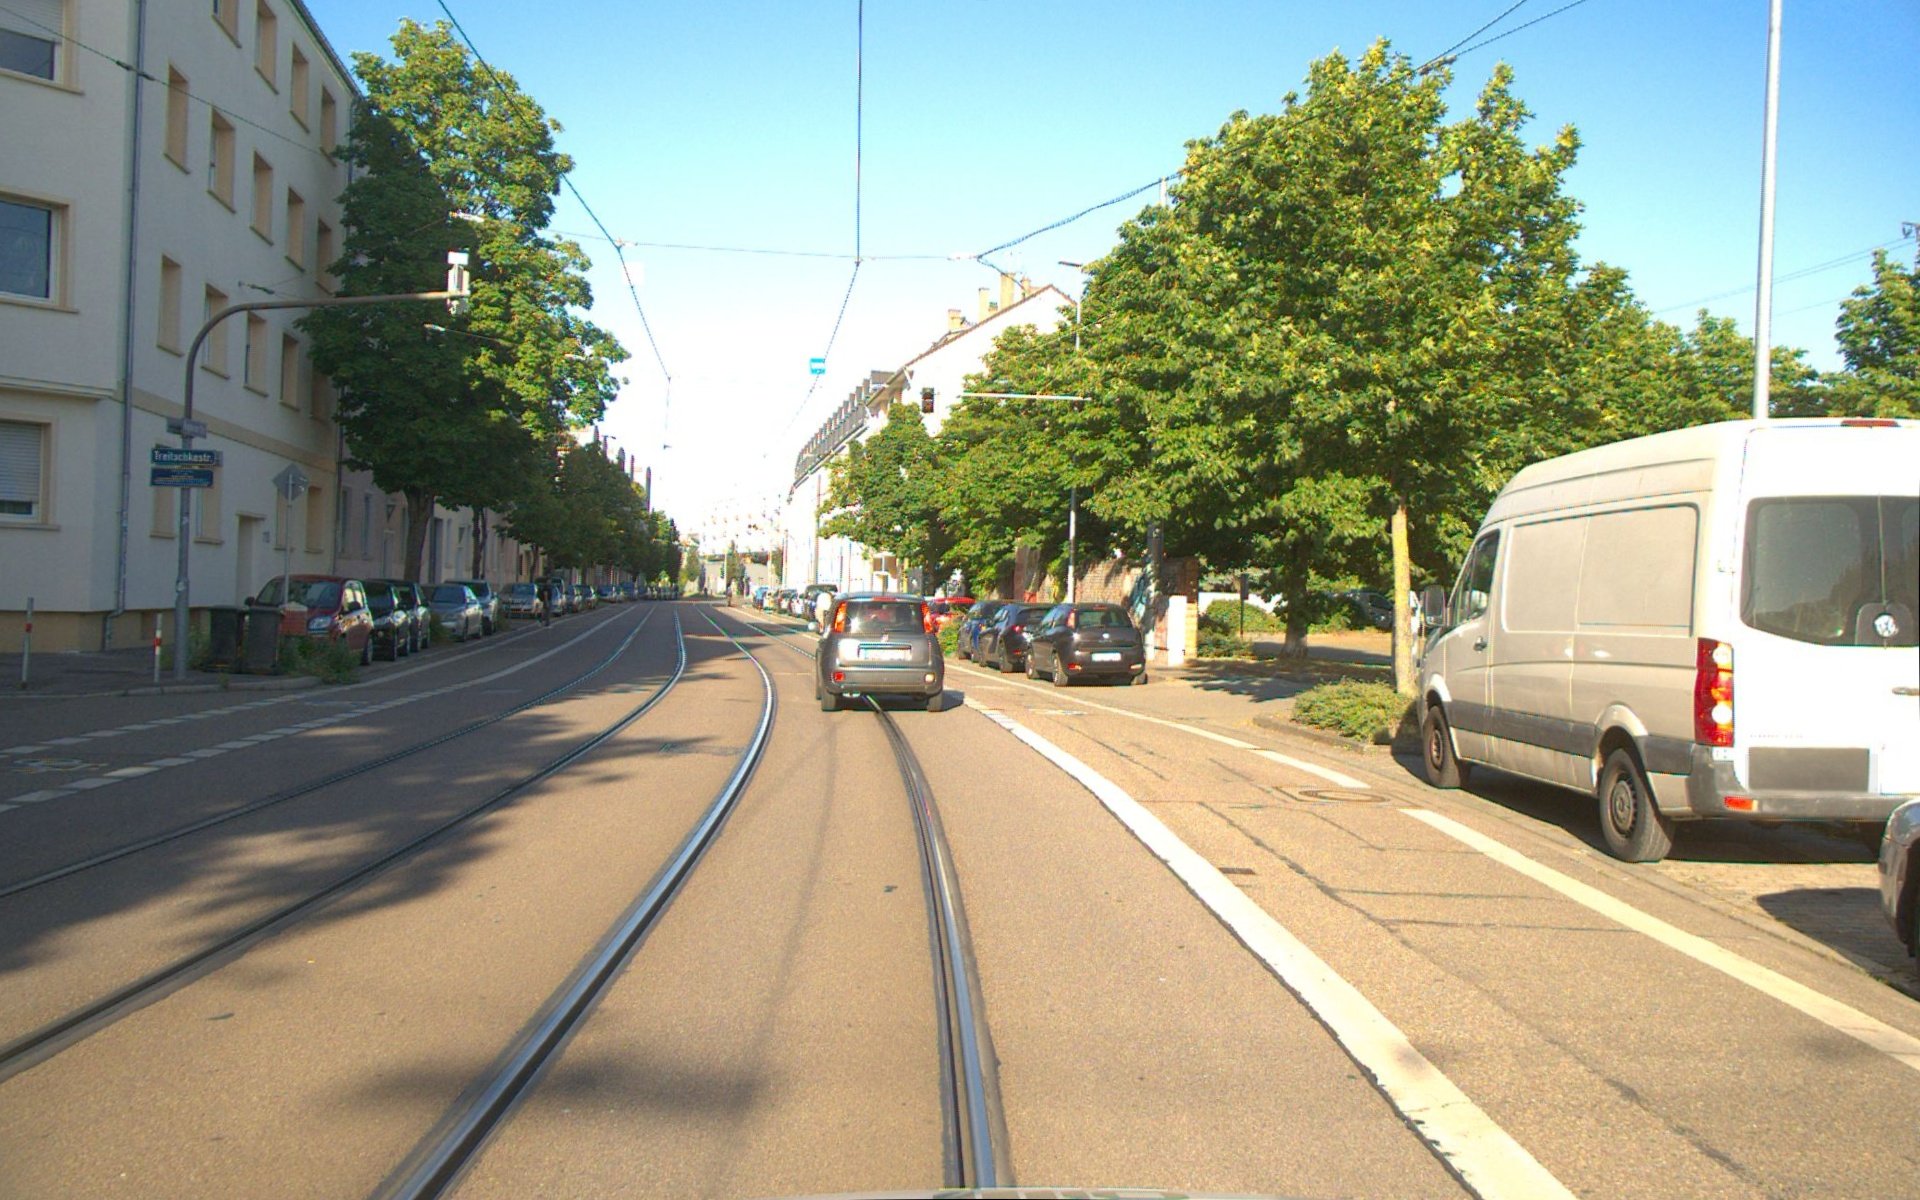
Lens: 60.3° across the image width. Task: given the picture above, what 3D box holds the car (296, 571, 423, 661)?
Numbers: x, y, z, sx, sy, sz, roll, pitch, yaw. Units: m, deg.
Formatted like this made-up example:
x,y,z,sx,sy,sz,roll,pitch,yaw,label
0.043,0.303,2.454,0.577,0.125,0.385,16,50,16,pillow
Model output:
x,y,z,sx,sy,sz,roll,pitch,yaw,label
-11.699,0.281,32.428,1.755,1.556,3.846,3,0,-12,car

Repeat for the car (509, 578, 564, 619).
x,y,z,sx,sy,sz,roll,pitch,yaw,label
-17.225,-0.062,67.495,1.776,1.534,4.181,3,0,-10,car

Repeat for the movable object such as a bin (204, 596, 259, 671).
x,y,z,sx,sy,sz,roll,pitch,yaw,label
-10.179,0.460,23.126,0.475,1.005,0.658,3,0,-8,movable object such as a bin

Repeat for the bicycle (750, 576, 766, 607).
x,y,z,sx,sy,sz,roll,pitch,yaw,label
-13.509,-0.582,110.560,0.728,2.049,2.804,3,0,-11,bicycle

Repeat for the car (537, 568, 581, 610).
x,y,z,sx,sy,sz,roll,pitch,yaw,label
-20.394,-0.573,84.233,1.776,1.977,4.323,3,0,-10,car

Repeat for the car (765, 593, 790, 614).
x,y,z,sx,sy,sz,roll,pitch,yaw,label
-13.484,0.268,122.049,1.555,1.430,3.368,3,0,-11,car

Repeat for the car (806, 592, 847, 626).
x,y,z,sx,sy,sz,roll,pitch,yaw,label
-6.913,0.456,85.284,1.626,1.598,3.866,3,0,-10,car

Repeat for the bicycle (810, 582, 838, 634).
x,y,z,sx,sy,sz,roll,pitch,yaw,label
-4.843,0.276,58.794,0.663,1.777,2.152,3,0,-11,bicycle

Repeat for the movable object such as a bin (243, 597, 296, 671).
x,y,z,sx,sy,sz,roll,pitch,yaw,label
-9.674,0.472,23.198,0.475,1.005,0.658,3,0,-8,movable object such as a bin

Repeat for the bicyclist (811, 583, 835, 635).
x,y,z,sx,sy,sz,roll,pitch,yaw,label
-4.880,0.320,58.850,0.687,1.789,0.755,3,-1,-11,bicyclist

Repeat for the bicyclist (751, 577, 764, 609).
x,y,z,sx,sy,sz,roll,pitch,yaw,label
-13.539,-0.460,110.475,0.702,2.049,0.829,3,-1,-11,bicyclist

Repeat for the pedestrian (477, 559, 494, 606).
x,y,z,sx,sy,sz,roll,pitch,yaw,label
-19.176,-0.710,66.853,0.526,1.858,0.541,3,-1,-11,pedestrian

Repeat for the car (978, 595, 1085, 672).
x,y,z,sx,sy,sz,roll,pitch,yaw,label
1.501,0.683,36.104,1.656,1.557,4.349,1,0,-7,car

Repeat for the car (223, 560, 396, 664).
x,y,z,sx,sy,sz,roll,pitch,yaw,label
-10.929,0.186,28.052,1.656,1.556,3.994,3,0,-6,car

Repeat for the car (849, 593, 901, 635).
x,y,z,sx,sy,sz,roll,pitch,yaw,label
-3.275,0.510,63.154,1.605,1.534,3.389,0,0,-10,car

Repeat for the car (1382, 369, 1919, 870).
x,y,z,sx,sy,sz,roll,pitch,yaw,label
4.984,0.112,12.032,2.136,2.712,6.089,0,0,-2,car

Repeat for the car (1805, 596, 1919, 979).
x,y,z,sx,sy,sz,roll,pitch,yaw,label
4.880,0.786,5.336,1.871,1.556,4.599,2,0,-1,car

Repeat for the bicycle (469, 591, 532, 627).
x,y,z,sx,sy,sz,roll,pitch,yaw,label
-14.967,0.292,53.928,1.889,1.064,0.475,3,-1,-9,bicycle

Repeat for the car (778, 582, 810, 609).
x,y,z,sx,sy,sz,roll,pitch,yaw,label
-10.201,-0.262,101.281,1.626,1.526,3.122,3,0,-11,car

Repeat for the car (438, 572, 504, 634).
x,y,z,sx,sy,sz,roll,pitch,yaw,label
-14.713,0.062,49.949,1.623,1.697,4.280,3,0,-14,car

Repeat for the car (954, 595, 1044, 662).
x,y,z,sx,sy,sz,roll,pitch,yaw,label
0.911,0.667,40.798,1.656,1.557,3.994,1,0,-7,car

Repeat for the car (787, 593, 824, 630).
x,y,z,sx,sy,sz,roll,pitch,yaw,label
-9.000,0.648,95.865,1.626,1.978,4.653,3,0,-10,car

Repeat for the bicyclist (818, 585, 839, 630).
x,y,z,sx,sy,sz,roll,pitch,yaw,label
-5.387,0.292,67.739,0.687,1.789,0.755,3,-1,-11,bicyclist

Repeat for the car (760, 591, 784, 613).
x,y,z,sx,sy,sz,roll,pitch,yaw,label
-14.646,0.145,128.717,1.555,1.626,3.368,3,0,-11,car

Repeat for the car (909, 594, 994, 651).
x,y,z,sx,sy,sz,roll,pitch,yaw,label
-0.297,0.618,47.666,1.659,1.557,3.987,1,0,-12,car

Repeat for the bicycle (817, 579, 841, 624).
x,y,z,sx,sy,sz,roll,pitch,yaw,label
-5.349,0.056,67.680,0.663,1.777,2.152,3,0,-11,bicycle

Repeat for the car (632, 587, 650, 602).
x,y,z,sx,sy,sz,roll,pitch,yaw,label
-35.325,-0.608,183.156,1.675,1.523,3.714,3,0,-9,car

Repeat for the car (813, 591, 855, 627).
x,y,z,sx,sy,sz,roll,pitch,yaw,label
-6.174,0.430,80.607,1.626,1.598,3.490,3,0,-11,car

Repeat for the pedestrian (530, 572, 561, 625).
x,y,z,sx,sy,sz,roll,pitch,yaw,label
-14.303,-0.063,57.034,0.840,1.808,0.728,1,1,-30,pedestrian

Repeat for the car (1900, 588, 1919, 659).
x,y,z,sx,sy,sz,roll,pitch,yaw,label
27.634,0.752,43.723,4.596,1.847,1.958,3,0,-9,car

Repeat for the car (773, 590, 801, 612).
x,y,z,sx,sy,sz,roll,pitch,yaw,label
-11.501,0.051,110.004,1.554,1.430,3.368,-1,1,-11,car

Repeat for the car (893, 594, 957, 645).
x,y,z,sx,sy,sz,roll,pitch,yaw,label
-1.159,0.588,52.929,1.656,1.557,3.994,1,0,-7,car

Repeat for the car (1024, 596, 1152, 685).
x,y,z,sx,sy,sz,roll,pitch,yaw,label
2.353,0.713,31.293,1.656,1.557,3.994,1,0,-7,car

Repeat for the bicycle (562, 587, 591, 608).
x,y,z,sx,sy,sz,roll,pitch,yaw,label
-23.790,-0.175,102.576,1.699,1.217,0.371,3,-1,-14,bicycle

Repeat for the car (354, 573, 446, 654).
x,y,z,sx,sy,sz,roll,pitch,yaw,label
-12.390,0.270,36.750,1.564,1.642,3.717,3,0,-14,car

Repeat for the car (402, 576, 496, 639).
x,y,z,sx,sy,sz,roll,pitch,yaw,label
-13.598,0.186,44.233,1.657,1.501,4.650,3,0,-9,car

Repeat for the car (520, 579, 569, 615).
x,y,z,sx,sy,sz,roll,pitch,yaw,label
-19.371,-0.161,77.242,1.776,1.534,4.669,3,0,-10,car

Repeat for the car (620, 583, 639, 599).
x,y,z,sx,sy,sz,roll,pitch,yaw,label
-33.452,-0.900,167.556,1.675,1.523,3.714,3,0,-9,car

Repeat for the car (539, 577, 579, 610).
x,y,z,sx,sy,sz,roll,pitch,yaw,label
-21.836,-0.365,90.087,1.776,1.647,4.054,3,0,-10,car

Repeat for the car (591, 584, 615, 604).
x,y,z,sx,sy,sz,roll,pitch,yaw,label
-30.059,-0.515,139.206,1.675,1.523,3.714,3,0,-9,car

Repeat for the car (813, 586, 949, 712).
x,y,z,sx,sy,sz,roll,pitch,yaw,label
-1.174,0.602,22.786,1.618,1.568,4.229,0,0,-6,car

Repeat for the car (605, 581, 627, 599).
x,y,z,sx,sy,sz,roll,pitch,yaw,label
-31.971,-0.903,153.732,1.675,1.523,3.714,3,0,-9,car

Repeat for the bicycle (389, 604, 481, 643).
x,y,z,sx,sy,sz,roll,pitch,yaw,label
-12.938,0.589,40.800,2.089,0.839,0.476,3,-1,-11,bicycle
